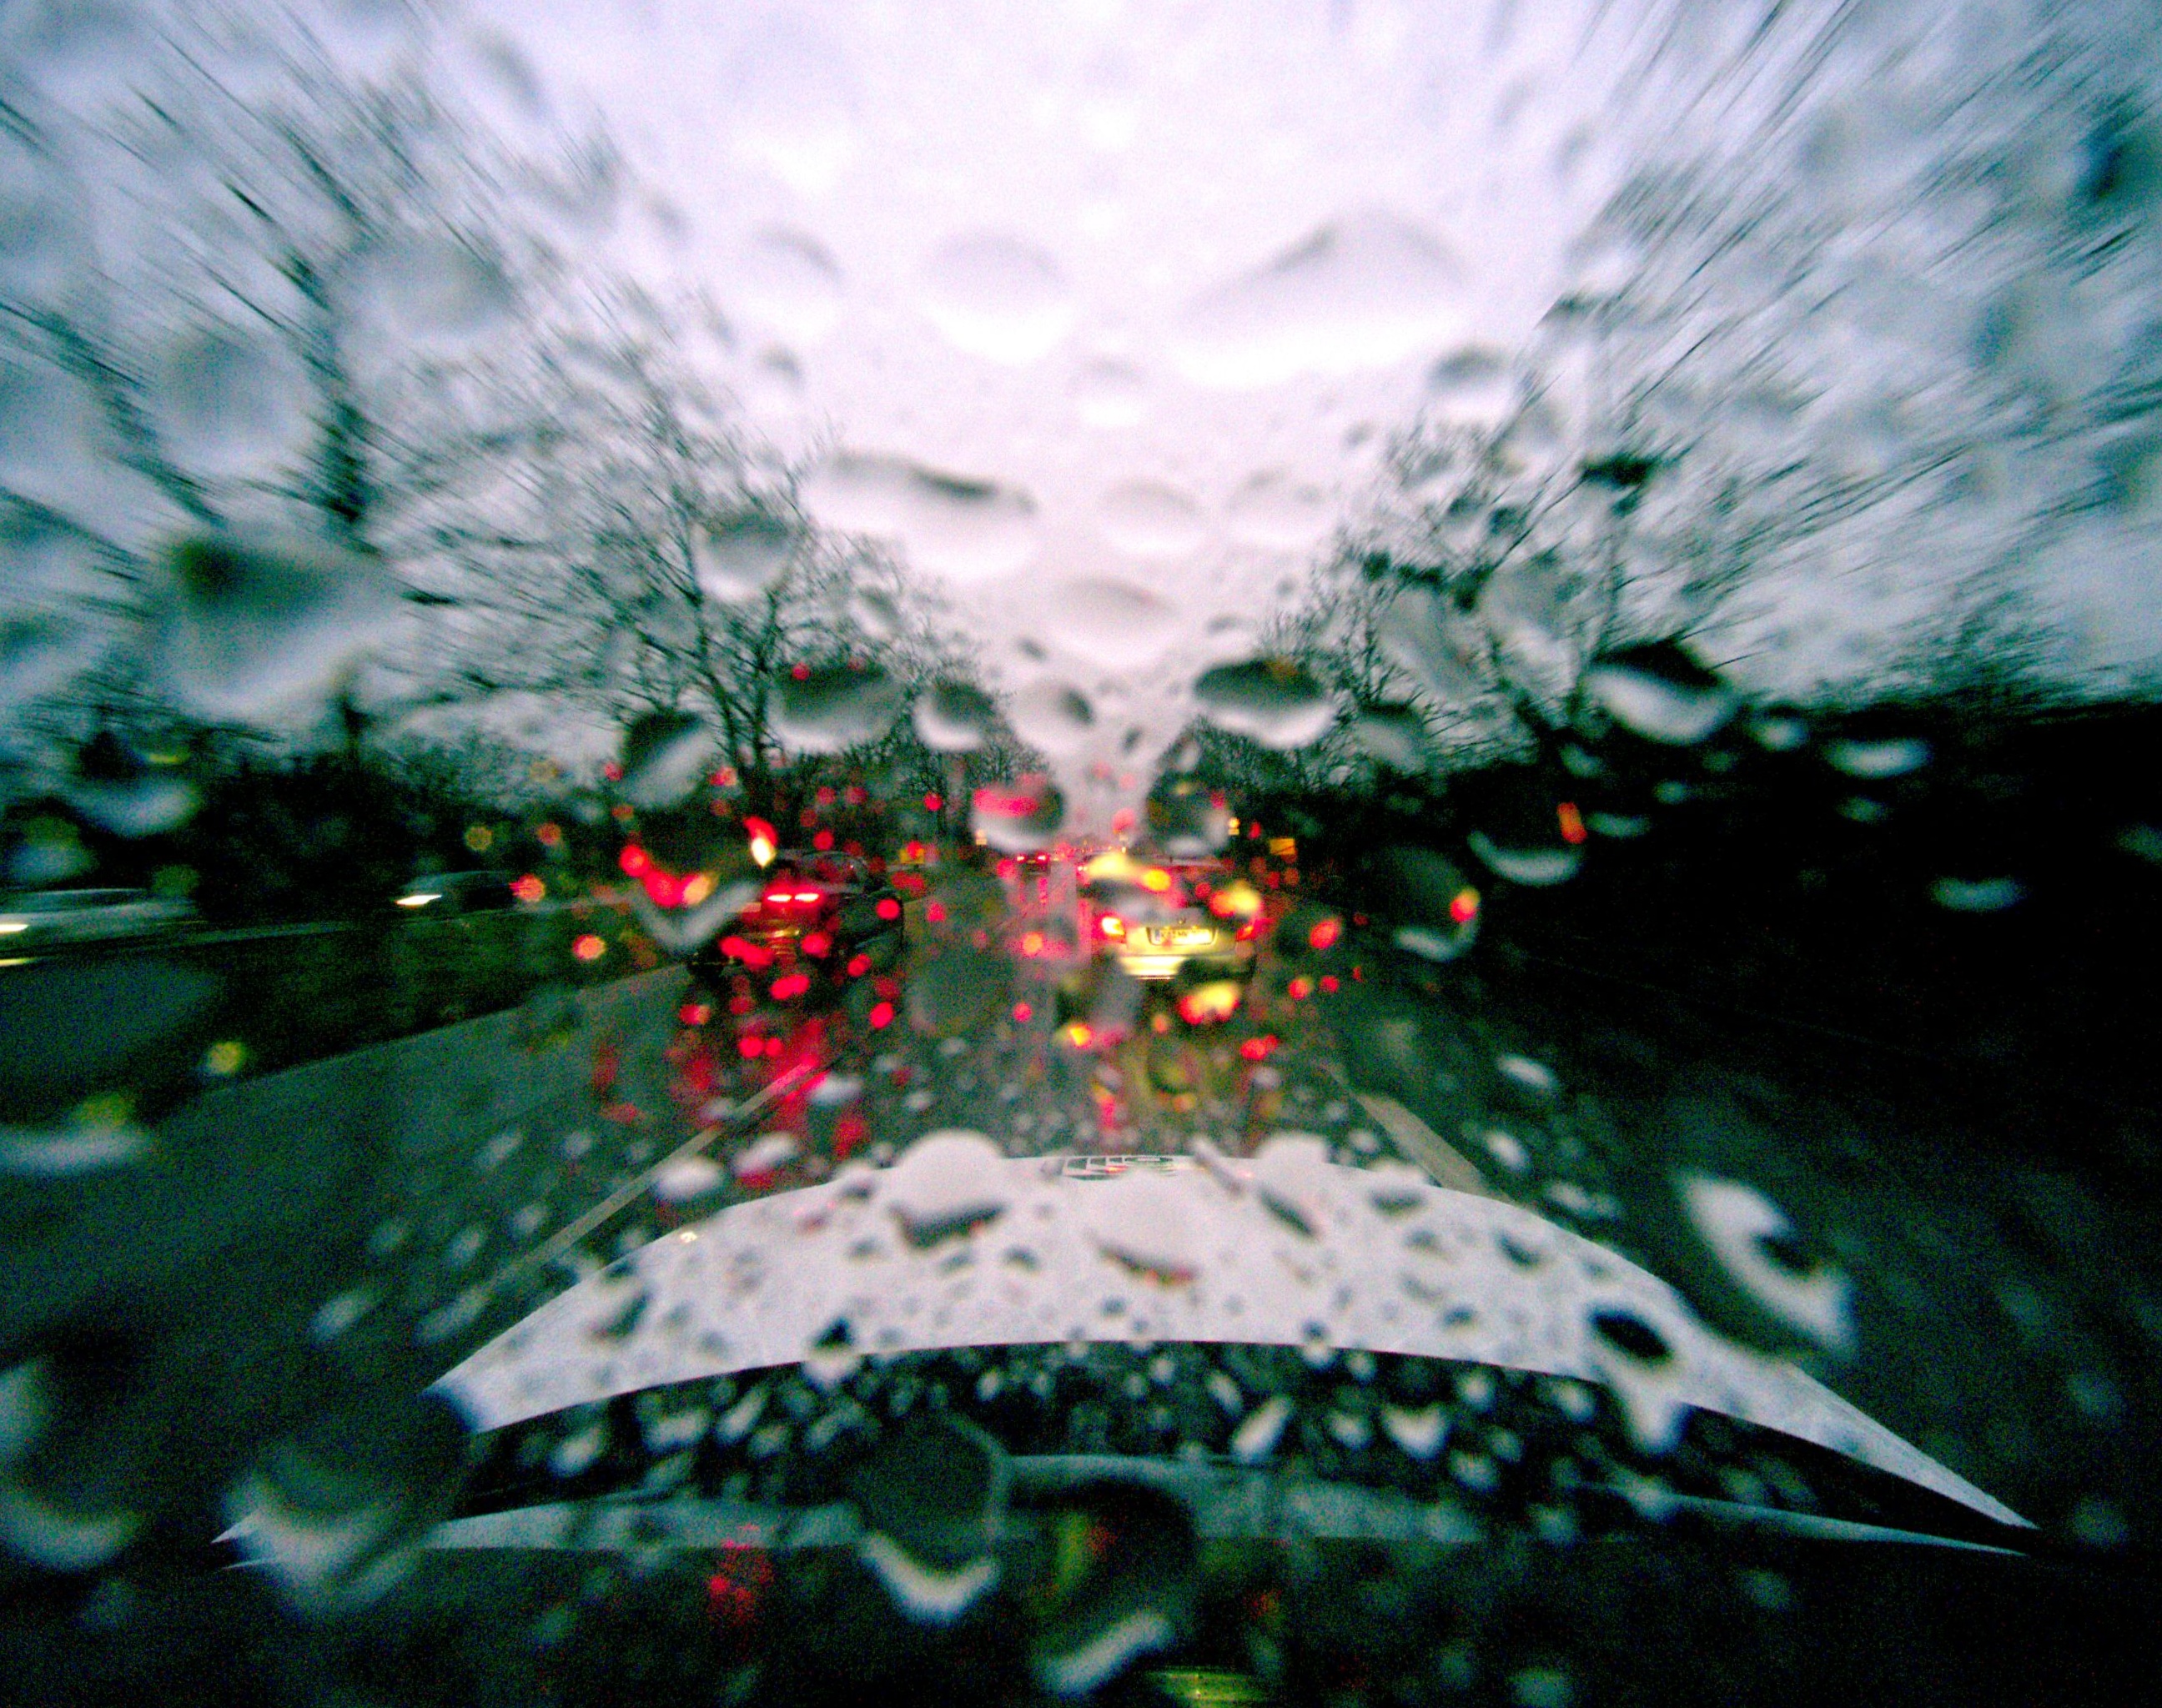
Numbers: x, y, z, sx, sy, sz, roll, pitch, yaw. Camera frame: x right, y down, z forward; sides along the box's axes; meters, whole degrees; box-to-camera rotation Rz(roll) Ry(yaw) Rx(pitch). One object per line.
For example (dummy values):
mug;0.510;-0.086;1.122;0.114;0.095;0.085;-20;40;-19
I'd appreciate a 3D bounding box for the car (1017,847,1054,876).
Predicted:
car;-2.714;0.466;49.553;1.815;1.648;4.002;-2;-1;2

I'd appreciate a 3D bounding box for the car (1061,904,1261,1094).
car;0.852;1.544;10.130;1.926;1.648;4.468;0;-1;2

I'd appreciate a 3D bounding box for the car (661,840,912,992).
car;-3.770;0.716;11.377;1.816;1.648;4.466;-2;-1;0

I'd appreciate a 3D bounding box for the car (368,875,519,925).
car;-19.889;1.388;25.631;1.633;1.339;3.998;0;0;-1

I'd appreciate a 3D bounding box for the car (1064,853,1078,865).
car;-1.177;0.616;98.592;1.499;1.339;4.002;-2;-1;2

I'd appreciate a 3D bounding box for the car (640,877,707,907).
car;-23.575;2.173;47.296;1.746;1.482;4.197;-1;0;0

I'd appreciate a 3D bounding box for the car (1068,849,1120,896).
car;0.537;0.689;30.565;1.815;1.648;4.468;0;-1;2

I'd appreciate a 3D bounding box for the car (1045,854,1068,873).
car;-2.291;0.888;77.050;1.815;1.648;4.002;-2;-1;2

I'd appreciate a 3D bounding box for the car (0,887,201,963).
car;-24.053;1.629;19.290;1.744;1.482;4.200;-1;0;3
